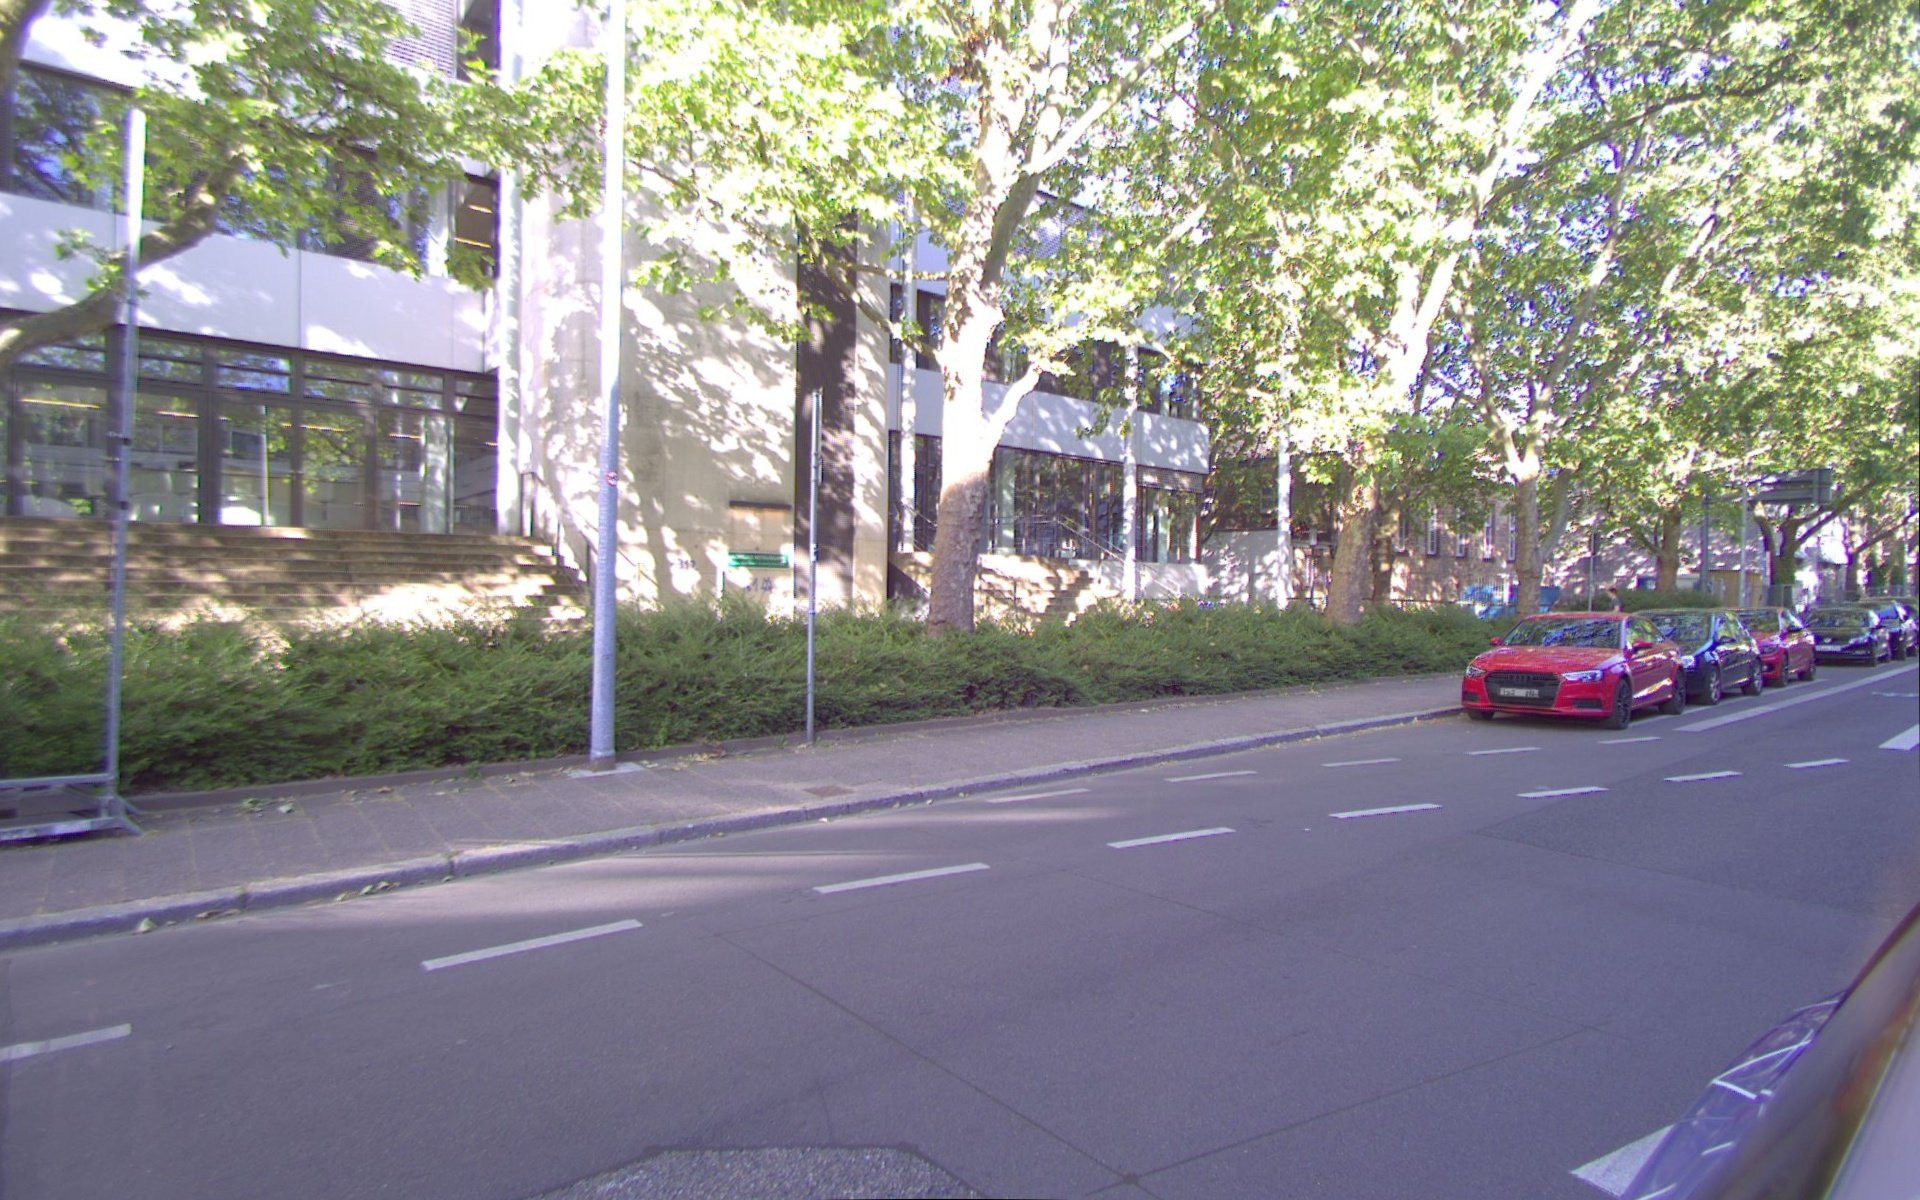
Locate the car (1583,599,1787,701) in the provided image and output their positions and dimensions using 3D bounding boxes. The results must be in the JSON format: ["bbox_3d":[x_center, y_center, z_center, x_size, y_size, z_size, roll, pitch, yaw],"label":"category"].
[{"bbox_3d":[12.025,0.719,16.689,4.095,1.464,1.834,0,0,-41],"label":"car"}]

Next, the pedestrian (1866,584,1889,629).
[{"bbox_3d":[39.111,0.282,43.136,0.629,1.884,0.660,0,0,-41],"label":"pedestrian"}]

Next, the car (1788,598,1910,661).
[{"bbox_3d":[22.873,0.702,25.995,4.095,1.486,1.834,0,0,-41],"label":"car"}]

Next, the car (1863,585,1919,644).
[{"bbox_3d":[31.047,0.439,32.979,4.383,1.820,1.834,0,0,-40],"label":"car"}]

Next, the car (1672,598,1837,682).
[{"bbox_3d":[15.840,0.709,20.103,4.095,1.486,1.834,0,0,-41],"label":"car"}]

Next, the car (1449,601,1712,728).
[{"bbox_3d":[8.406,0.737,13.572,4.173,1.422,1.834,0,0,-41],"label":"car"}]

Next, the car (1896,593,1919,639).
[{"bbox_3d":[35.910,0.581,37.104,4.183,1.634,1.834,0,0,-40],"label":"car"}]

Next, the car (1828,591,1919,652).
[{"bbox_3d":[26.562,0.573,29.089,4.088,1.626,1.834,0,0,-40],"label":"car"}]
